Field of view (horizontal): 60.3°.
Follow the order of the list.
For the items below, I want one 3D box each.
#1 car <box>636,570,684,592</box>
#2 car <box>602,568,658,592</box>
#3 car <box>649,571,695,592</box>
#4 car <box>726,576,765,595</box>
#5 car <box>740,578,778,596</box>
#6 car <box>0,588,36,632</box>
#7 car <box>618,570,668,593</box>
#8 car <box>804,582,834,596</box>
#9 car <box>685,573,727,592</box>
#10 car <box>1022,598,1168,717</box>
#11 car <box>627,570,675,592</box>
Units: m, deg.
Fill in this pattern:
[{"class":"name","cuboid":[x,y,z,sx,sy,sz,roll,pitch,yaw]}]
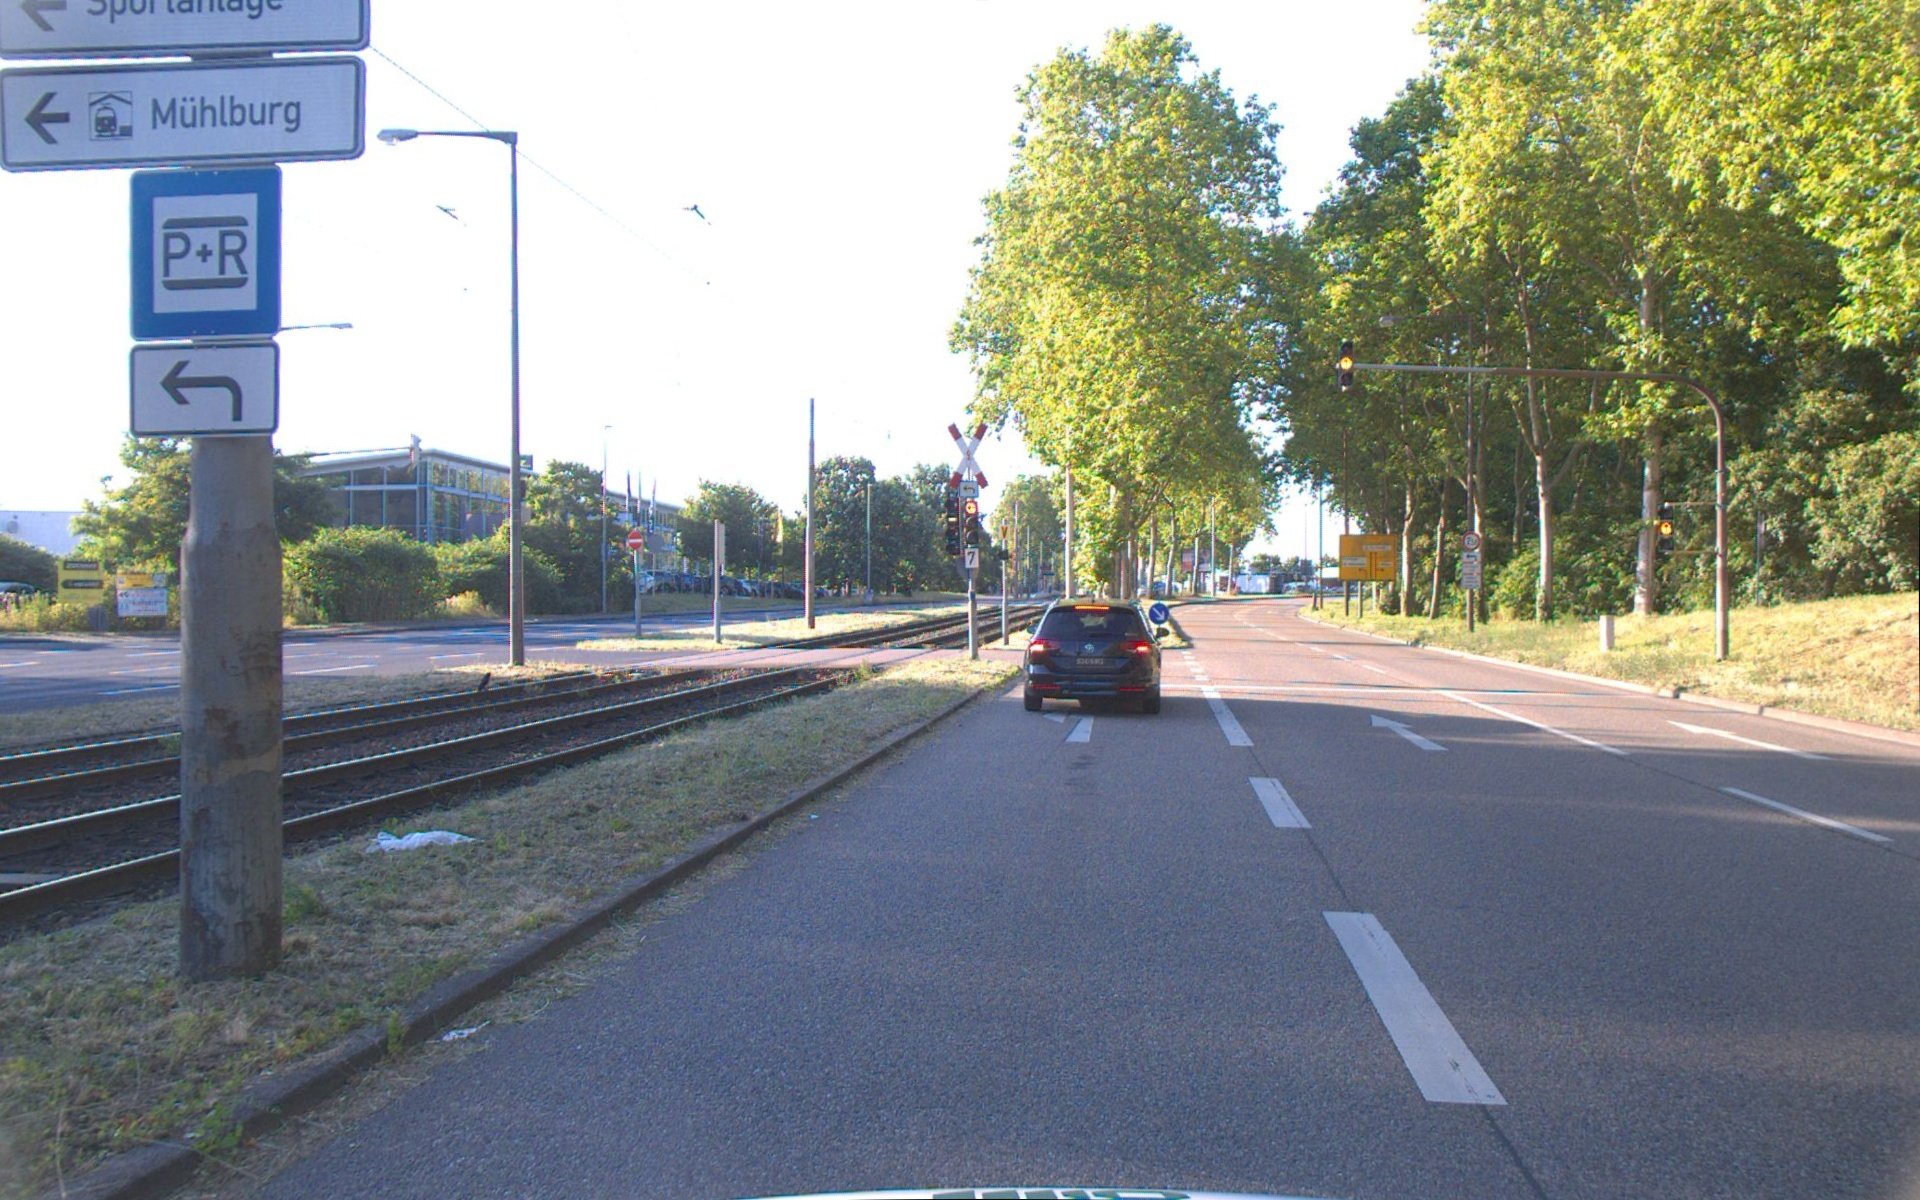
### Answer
[{"class":"car","cuboid":[-21.660,-1.388,119.469,3.076,1.516,1.456,1,0,3]},{"class":"car","cuboid":[-20.234,-1.242,101.319,3.076,1.416,1.456,1,0,3]},{"class":"car","cuboid":[-21.285,-1.341,122.371,3.076,1.516,1.456,1,0,3]},{"class":"car","cuboid":[-18.195,-1.227,140.549,3.076,1.516,1.456,1,0,3]},{"class":"car","cuboid":[-17.488,-1.161,143.969,3.076,1.516,1.456,1,0,3]},{"class":"car","cuboid":[-32.911,0.338,54.877,1.802,1.467,4.003,1,0,9]},{"class":"car","cuboid":[-21.569,-1.246,112.602,3.076,1.516,1.456,1,0,3]},{"class":"car","cuboid":[-15.878,-1.224,186.339,3.076,1.516,1.456,1,0,3]},{"class":"car","cuboid":[-20.617,-1.417,134.391,3.076,1.516,1.456,1,0,3]},{"class":"car","cuboid":[1.890,0.702,22.241,1.754,1.427,3.692,1,0,8]},{"class":"car","cuboid":[-21.784,-1.319,116.563,3.076,1.516,1.456,1,0,3]}]
